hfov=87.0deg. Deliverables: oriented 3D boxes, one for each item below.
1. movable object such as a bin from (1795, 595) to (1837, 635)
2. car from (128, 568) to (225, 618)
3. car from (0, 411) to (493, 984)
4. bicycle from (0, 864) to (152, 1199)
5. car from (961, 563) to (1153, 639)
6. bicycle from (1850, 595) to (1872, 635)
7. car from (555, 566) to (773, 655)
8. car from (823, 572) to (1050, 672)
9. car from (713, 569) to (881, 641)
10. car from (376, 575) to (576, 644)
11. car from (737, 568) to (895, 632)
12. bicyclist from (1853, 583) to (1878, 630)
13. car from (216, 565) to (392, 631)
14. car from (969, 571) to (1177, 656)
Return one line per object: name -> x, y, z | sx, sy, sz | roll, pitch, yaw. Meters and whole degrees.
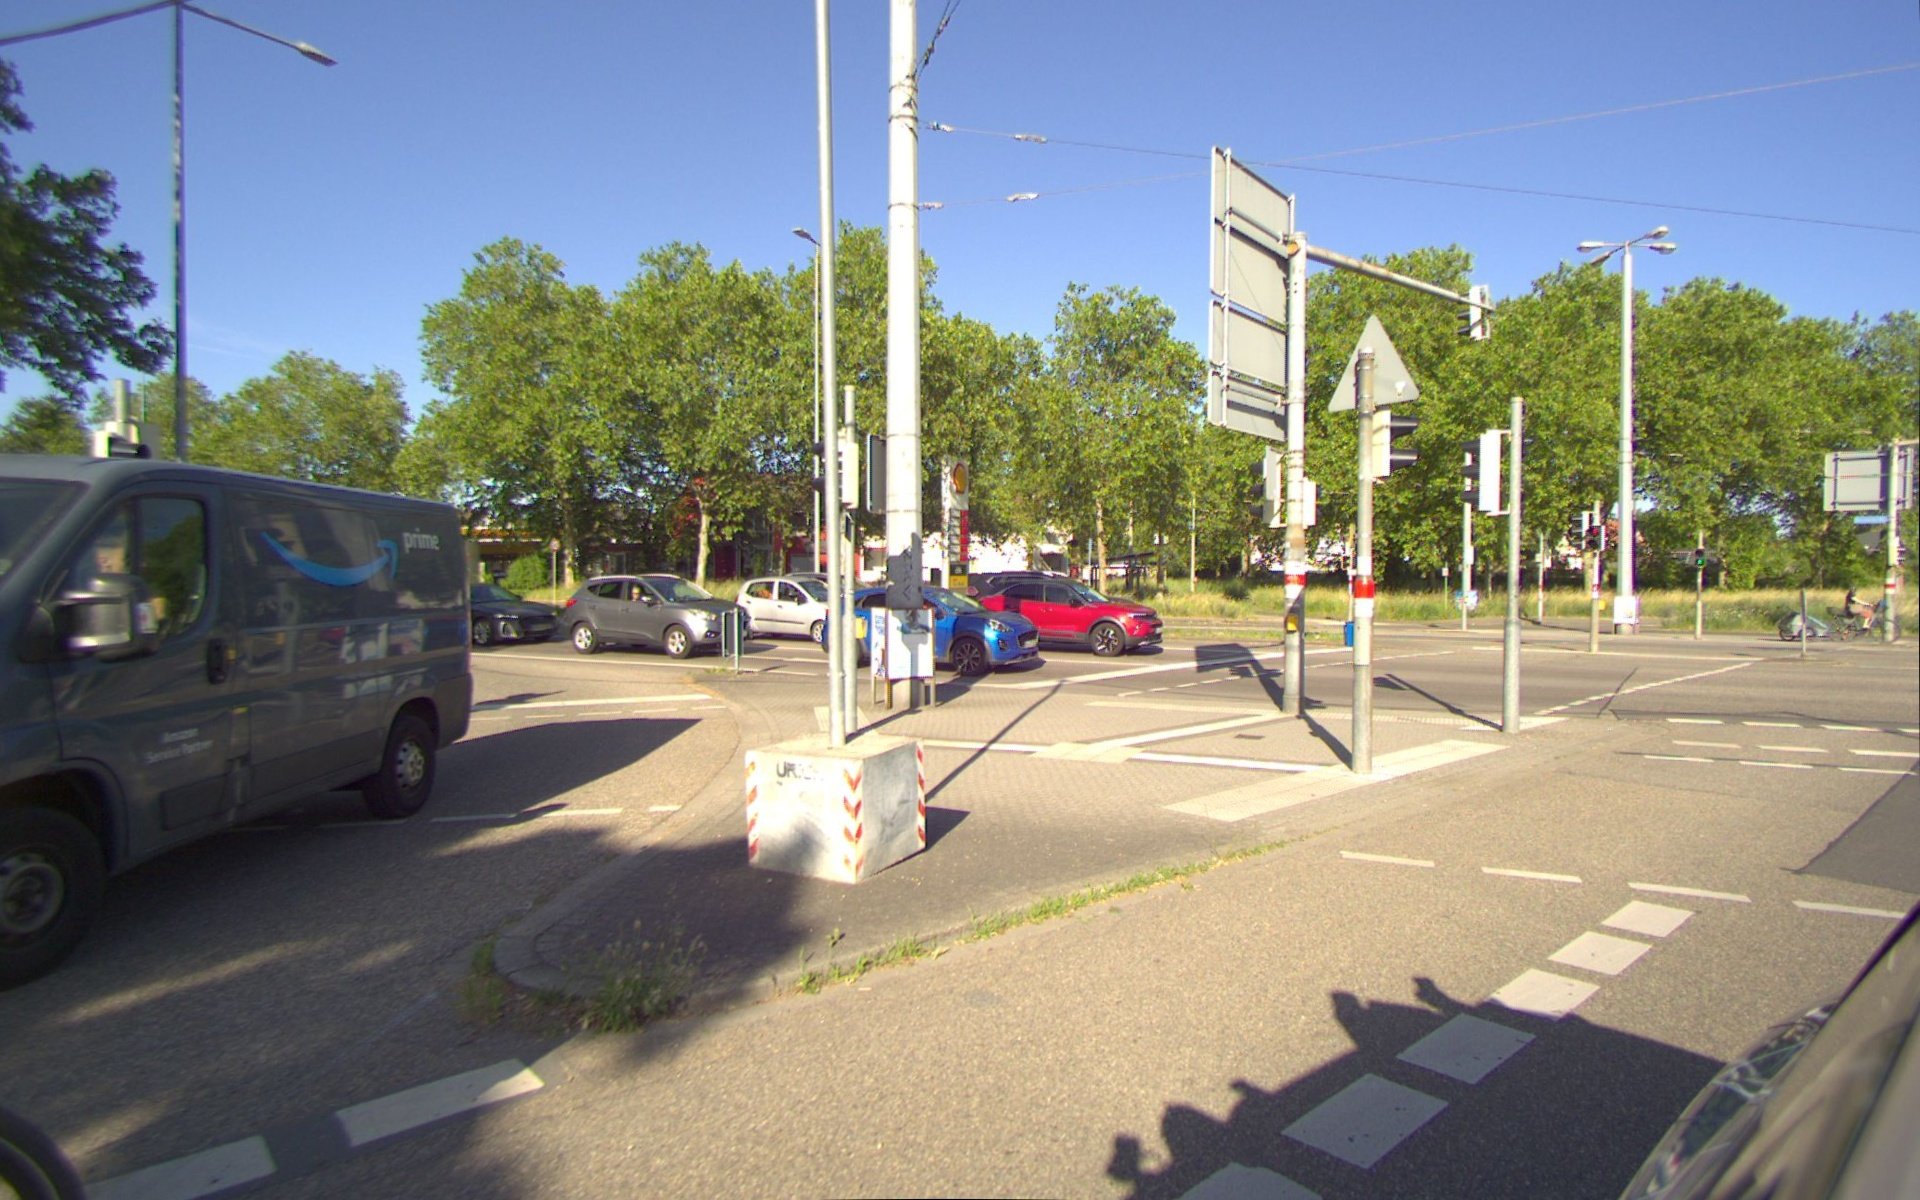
movable object such as a bin -> 25.273, 0.428, 29.872 | 0.908, 1.082, 1.297 | 2, 2, 41
car -> -28.223, -0.282, 36.440 | 3.174, 1.635, 1.363 | 1, 5, 24
car -> -4.636, 0.306, 5.436 | 2.089, 2.096, 5.123 | 0, 2, -2
bicycle -> -2.198, 0.997, 1.100 | 2.051, 0.934, 0.525 | -1, 2, -38
car -> 2.427, -0.039, 25.387 | 4.446, 1.732, 1.906 | 1, 2, 24
bicycle -> 26.950, 0.437, 30.269 | 0.466, 1.132, 1.792 | 1, 2, 42
car -> -6.280, 0.155, 21.449 | 4.229, 1.699, 1.919 | 1, 1, 24
car -> -0.427, 0.324, 18.503 | 3.817, 1.620, 1.700 | 1, 3, 24
car -> -4.008, 0.069, 24.778 | 3.824, 1.620, 1.697 | 1, 1, 28
car -> -11.826, 0.169, 24.720 | 4.520, 1.424, 1.921 | 1, 5, 24
car -> -4.006, -0.035, 28.229 | 3.957, 1.638, 1.983 | 1, 1, 25
bicyclist -> 26.646, 0.190, 29.787 | 0.509, 1.357, 0.556 | 2, 2, 43
car -> -18.306, -0.067, 28.231 | 4.725, 1.703, 1.893 | 0, 1, 25
car -> 2.391, 0.208, 21.535 | 4.052, 1.620, 1.799 | 1, 2, 28
